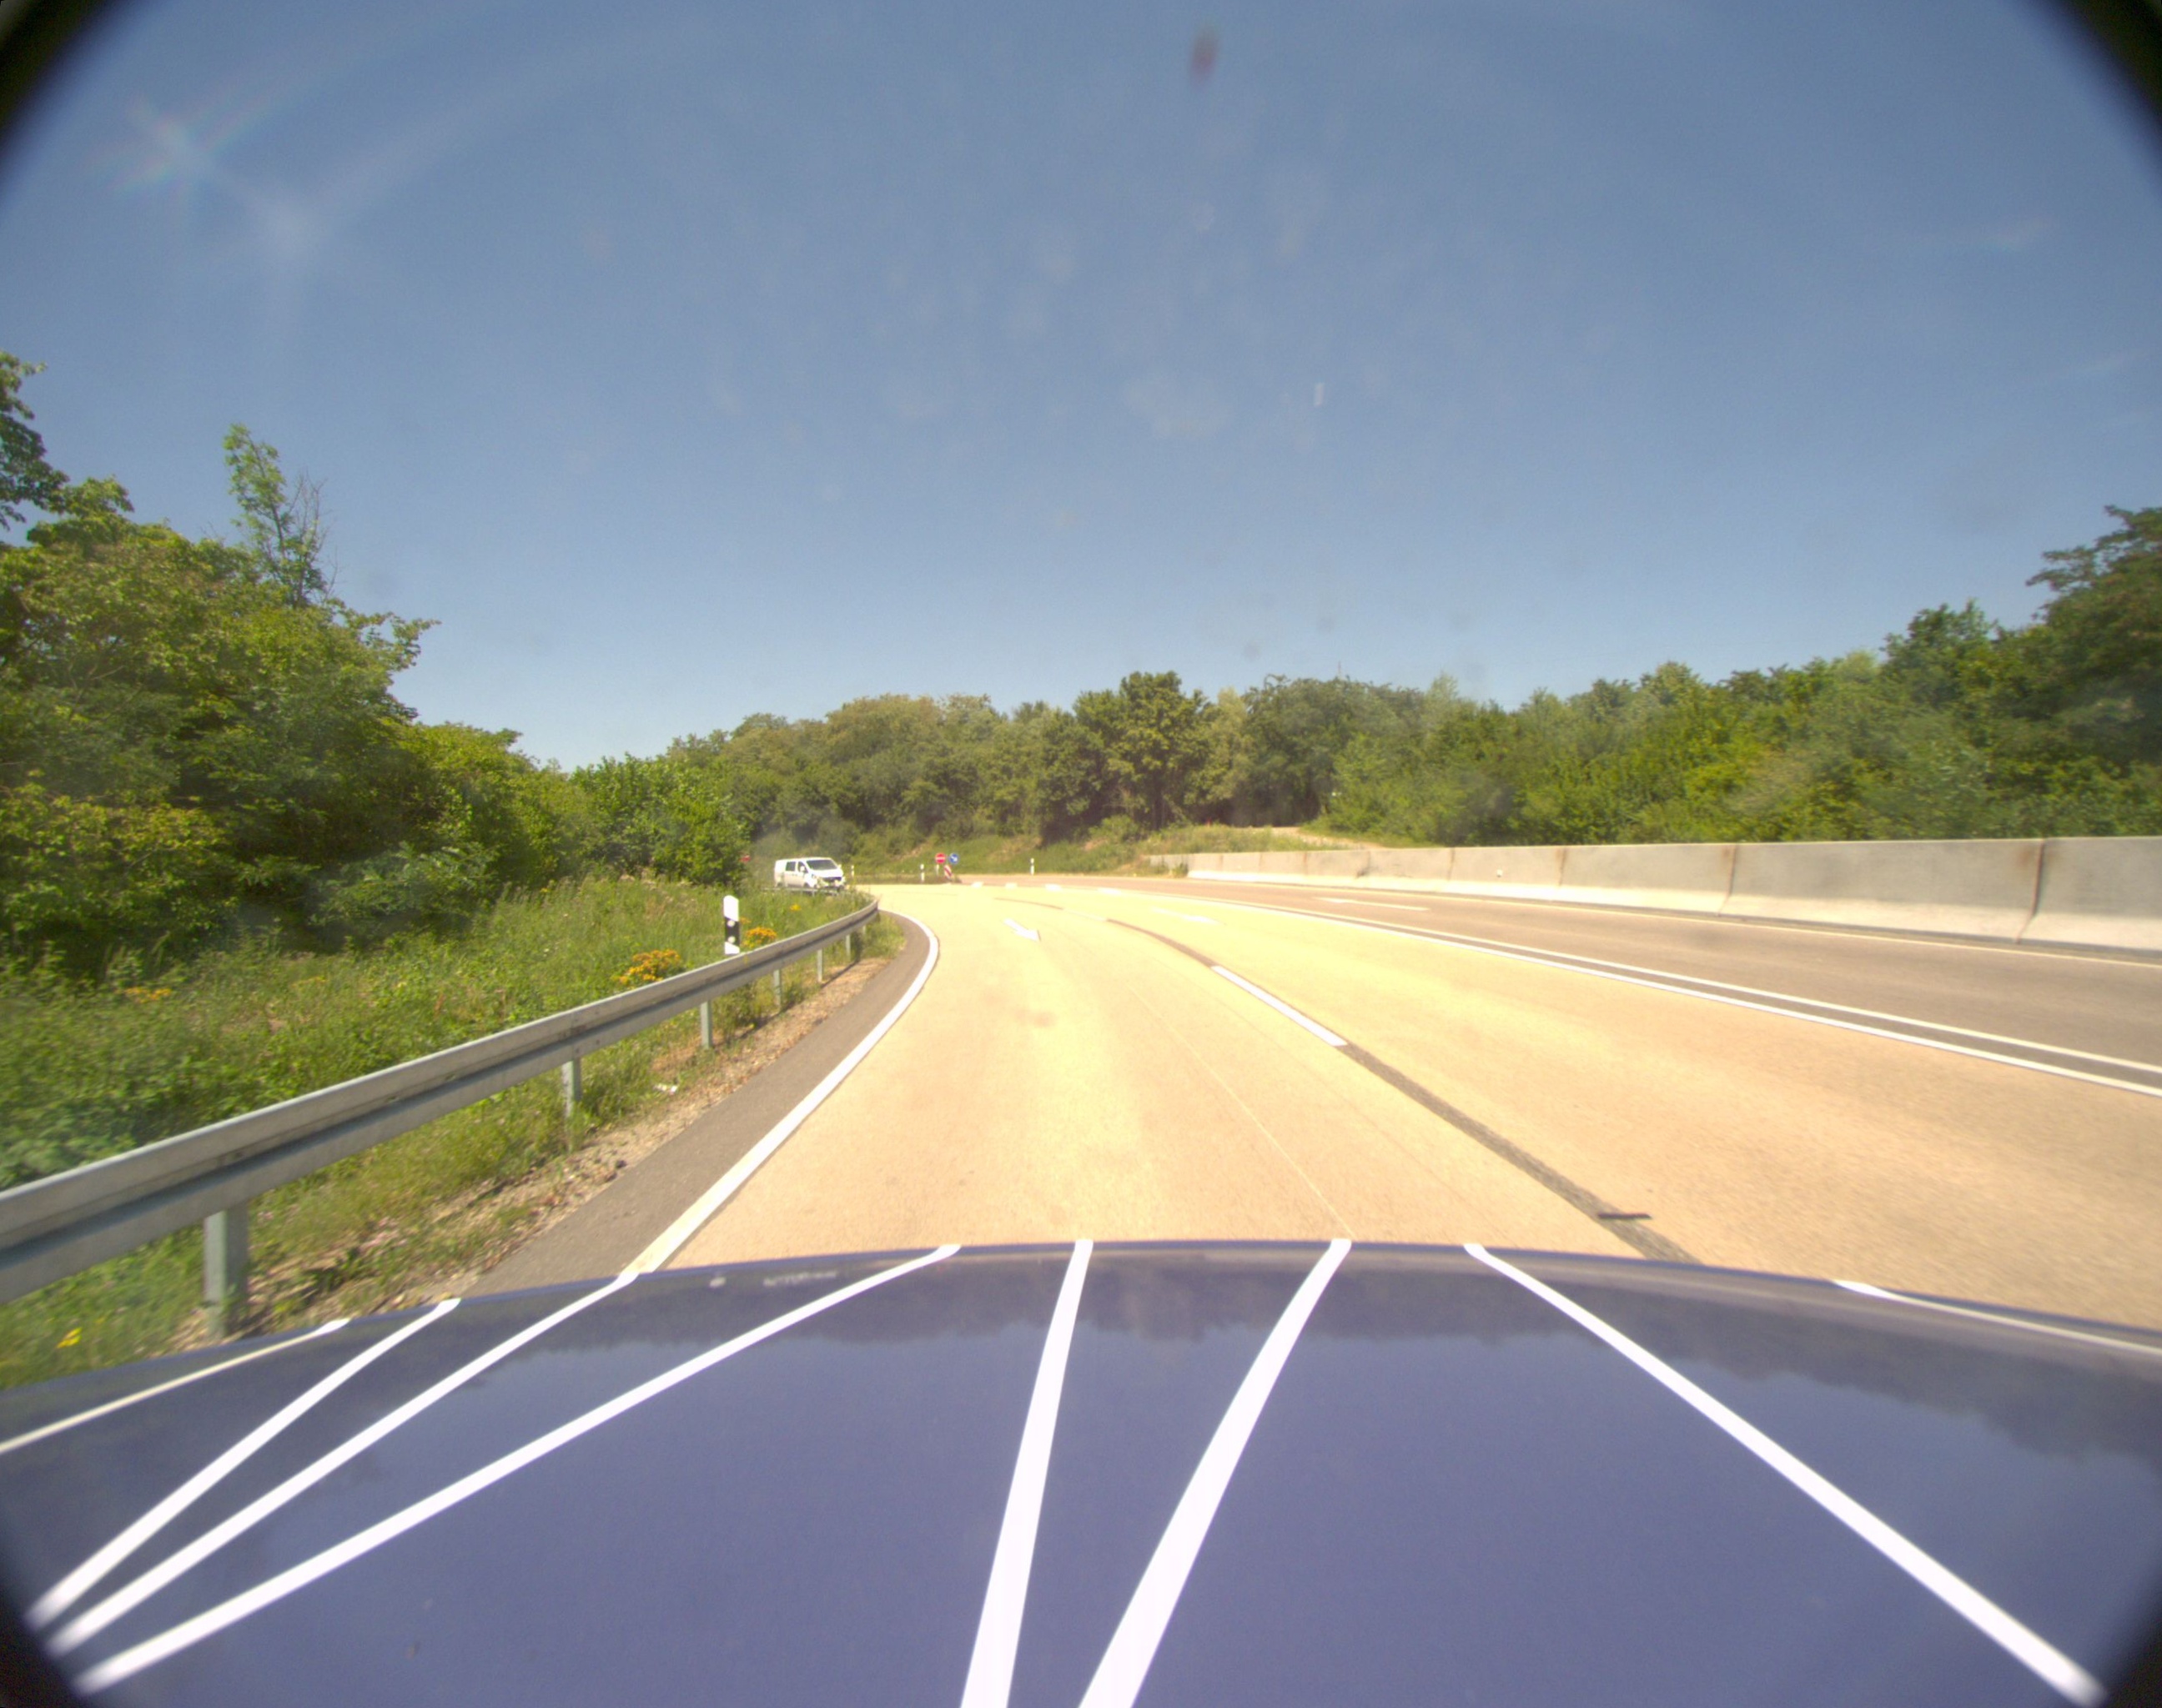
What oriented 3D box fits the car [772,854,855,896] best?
[{"bbox_3d":[-14.449,1.131,40.837,5.027,2.002,2.067,-2,2,44],"label":"car"}]
